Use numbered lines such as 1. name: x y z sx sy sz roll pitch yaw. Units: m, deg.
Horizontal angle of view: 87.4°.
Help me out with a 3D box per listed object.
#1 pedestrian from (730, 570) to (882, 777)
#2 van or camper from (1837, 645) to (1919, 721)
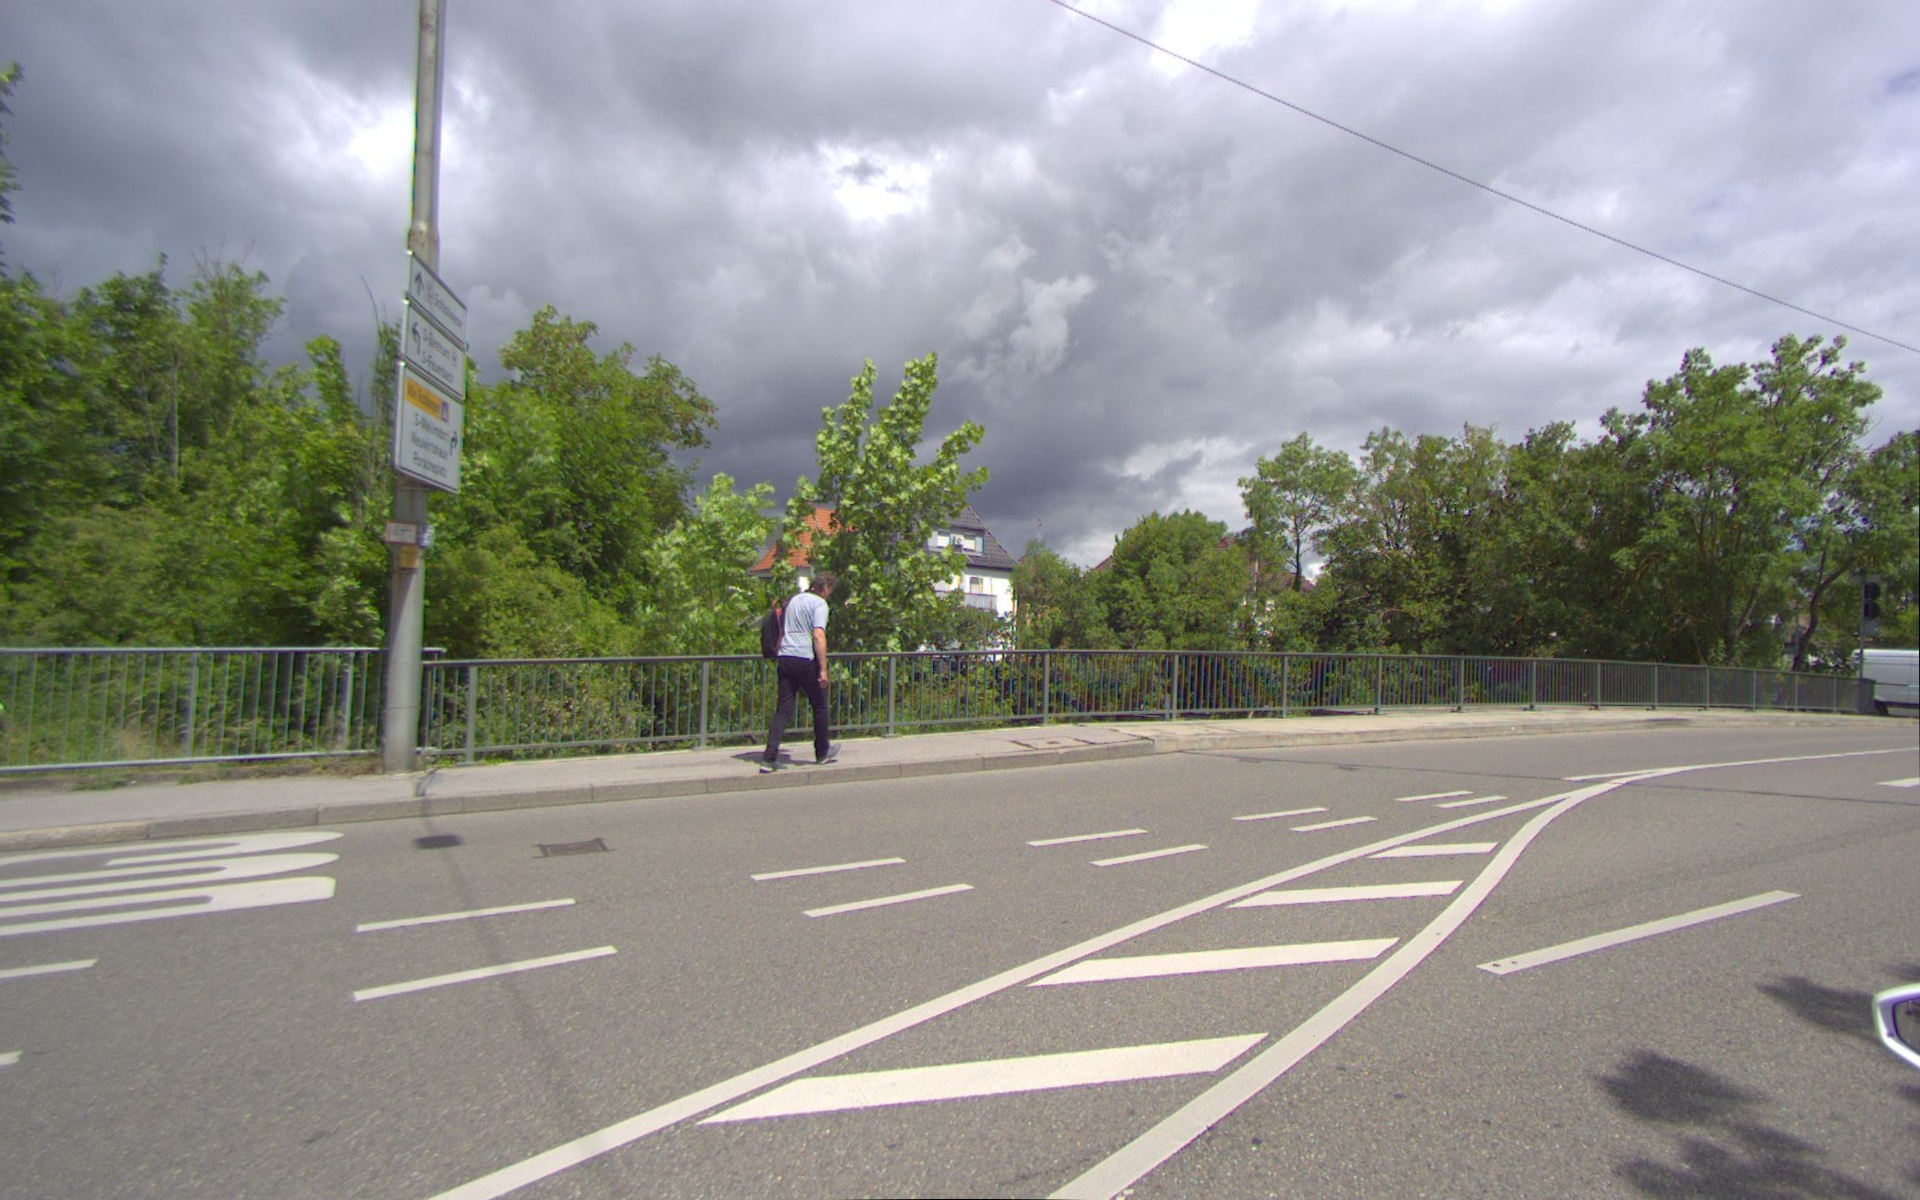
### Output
1. pedestrian: -1.474 0.666 9.740 0.981 1.861 1.035 1 0 28
2. van or camper: 34.758 2.960 35.071 2.167 2.599 5.887 6 -5 -27
